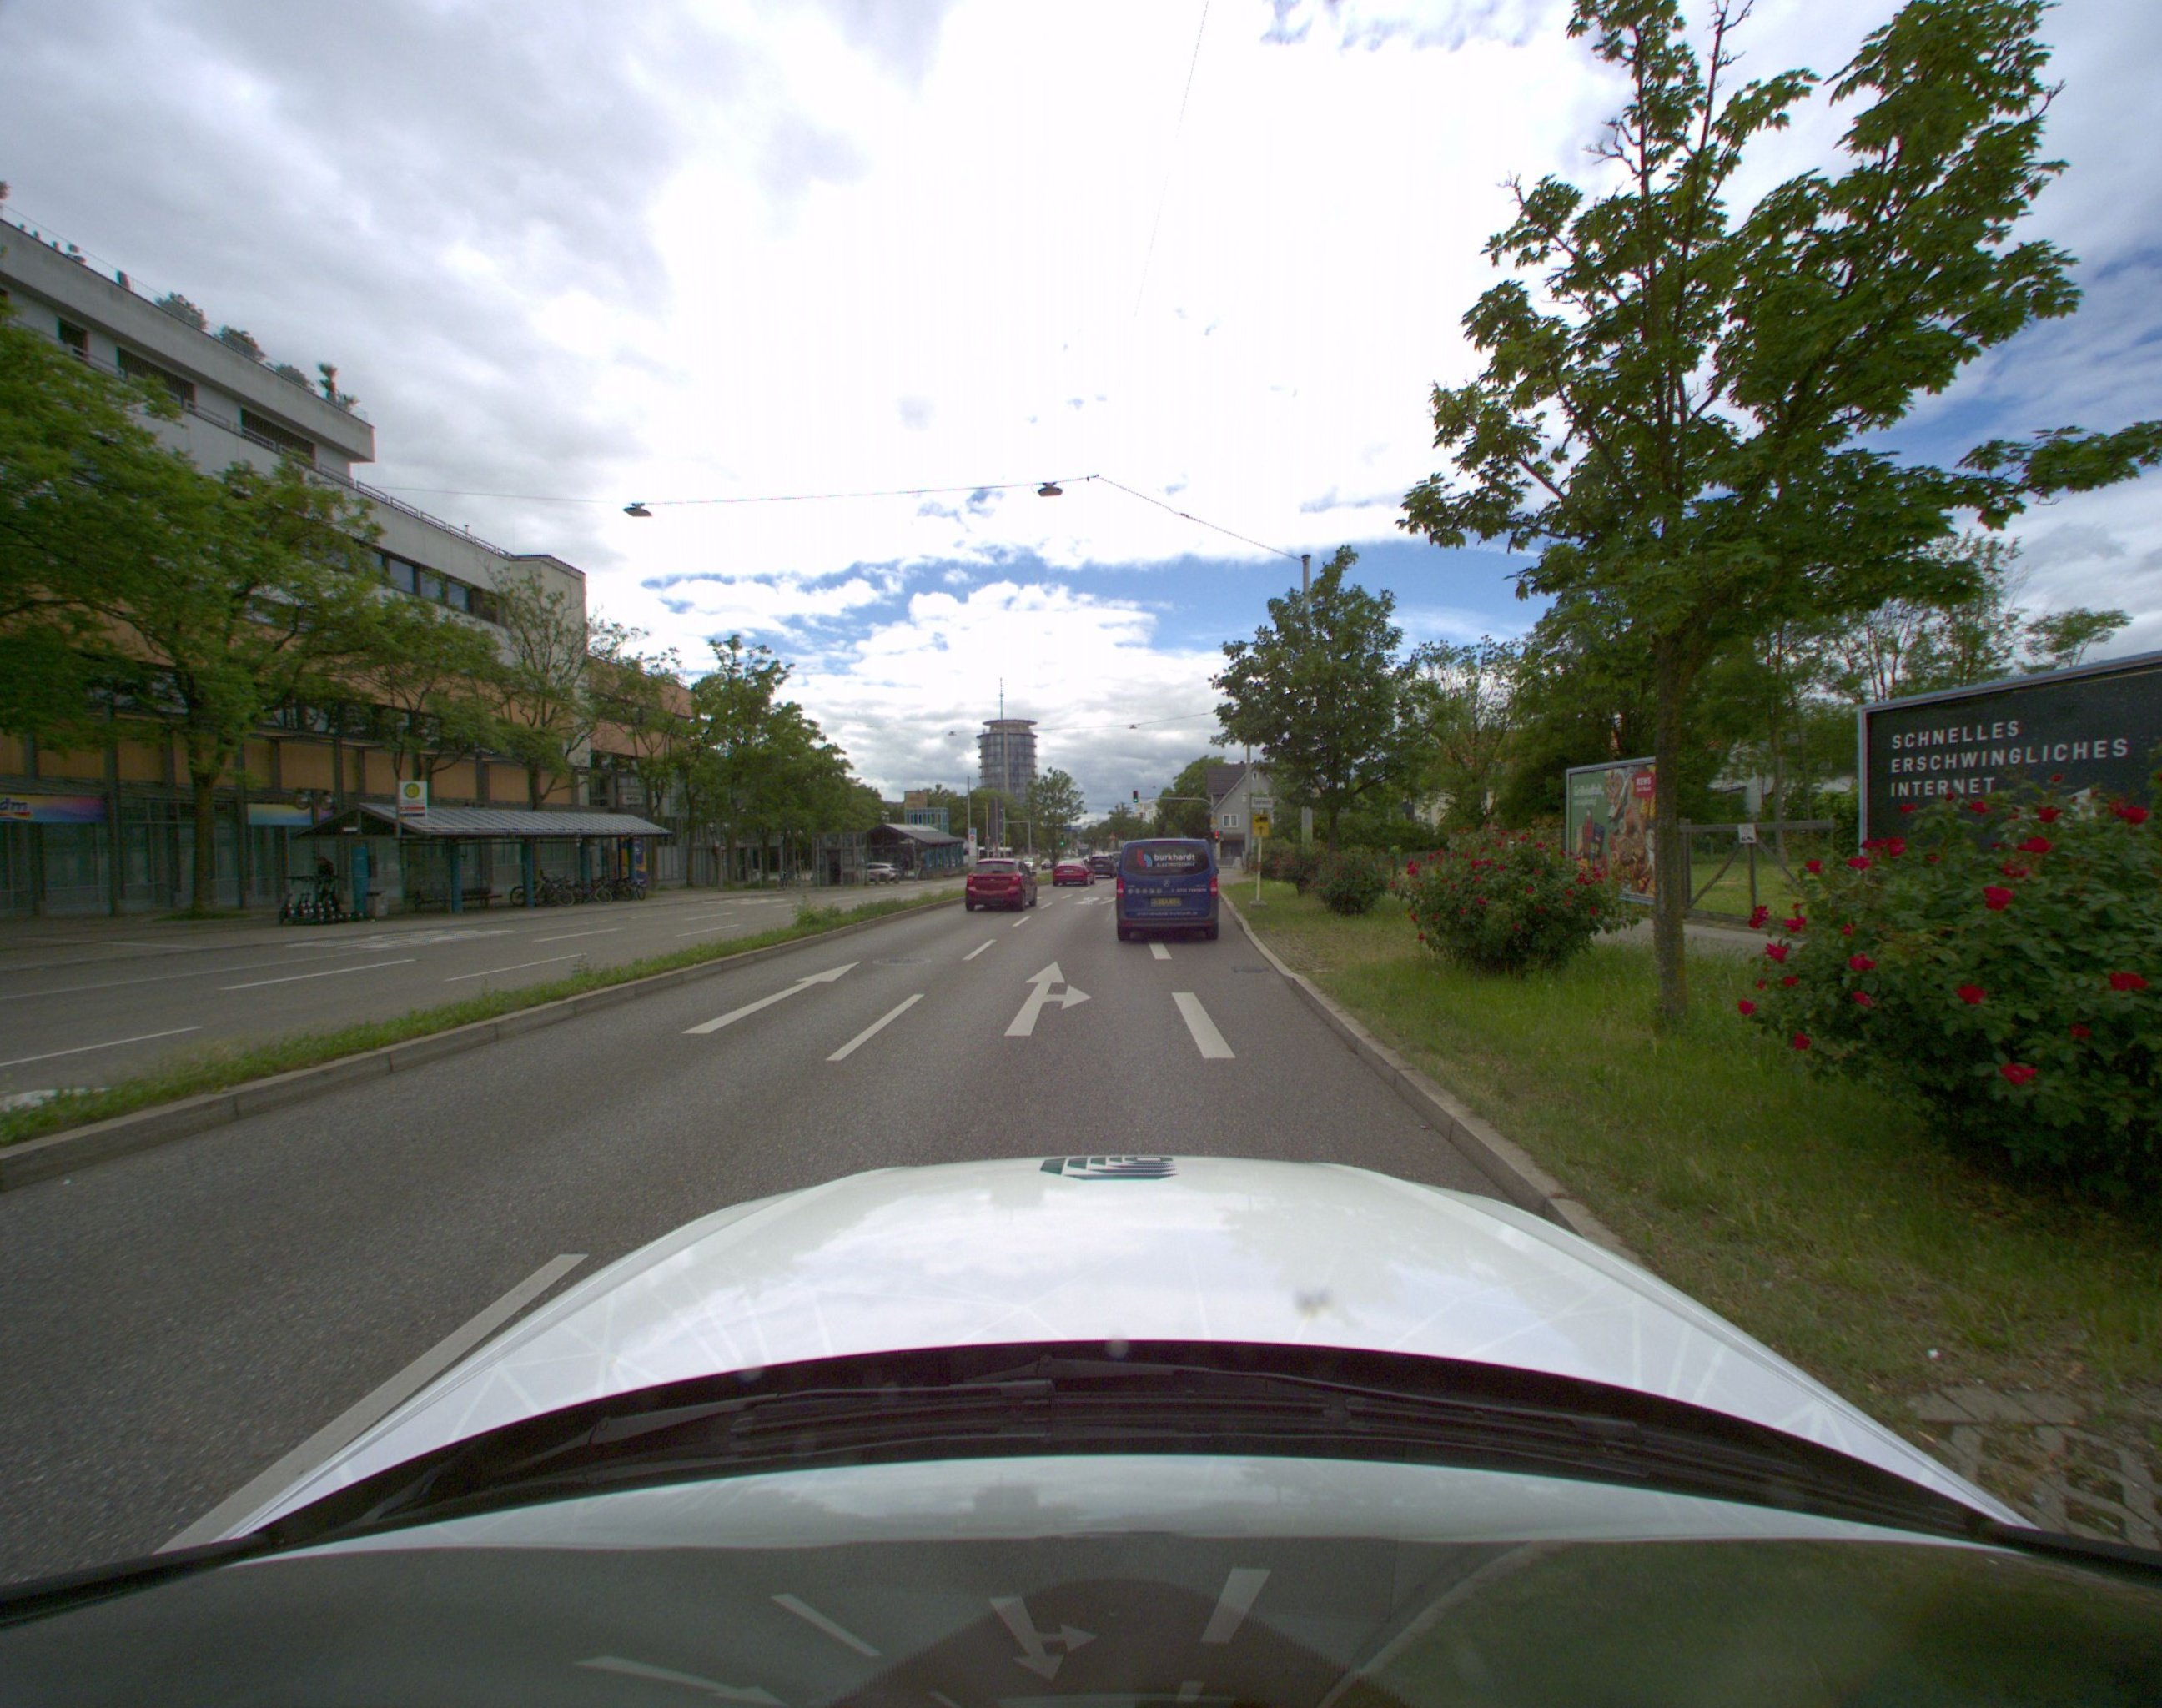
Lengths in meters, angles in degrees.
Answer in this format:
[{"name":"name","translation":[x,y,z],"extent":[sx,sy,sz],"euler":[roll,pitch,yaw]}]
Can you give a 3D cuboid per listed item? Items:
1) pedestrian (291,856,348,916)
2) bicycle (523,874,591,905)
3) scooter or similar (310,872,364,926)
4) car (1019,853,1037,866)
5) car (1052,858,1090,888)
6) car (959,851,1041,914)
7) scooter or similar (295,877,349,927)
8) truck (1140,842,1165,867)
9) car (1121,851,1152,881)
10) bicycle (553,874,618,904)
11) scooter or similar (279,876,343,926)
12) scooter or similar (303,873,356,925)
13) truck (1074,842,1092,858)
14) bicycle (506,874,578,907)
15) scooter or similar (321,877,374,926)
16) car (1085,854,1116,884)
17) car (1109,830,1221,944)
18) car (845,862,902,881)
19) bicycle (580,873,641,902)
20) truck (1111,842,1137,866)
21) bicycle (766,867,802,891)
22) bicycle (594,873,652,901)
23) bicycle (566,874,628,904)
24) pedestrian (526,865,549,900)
[{"name":"pedestrian","translation":[-23.081,0.946,24.697],"extent":[0.730,1.781,0.998],"euler":[-1,0,3]},{"name":"bicycle","translation":[-20.125,1.357,31.329],"extent":[2.064,1.153,0.709],"euler":[1,-1,-9]},{"name":"scooter or similar","translation":[-20.300,1.222,22.222],"extent":[1.198,1.423,0.259],"euler":[-1,0,-1]},{"name":"car","translation":[-6.893,0.686,106.311],"extent":[1.614,1.574,4.009],"euler":[-2,0,8]},{"name":"car","translation":[-0.558,0.991,43.322],"extent":[1.863,1.486,3.997],"euler":[-1,0,-2]},{"name":"car","translation":[-2.347,0.798,24.628],"extent":[1.738,1.723,4.005],"euler":[-1,0,5]},{"name":"scooter or similar","translation":[-20.204,1.266,21.679],"extent":[1.124,1.295,0.268],"euler":[-1,0,-2]},{"name":"truck","translation":[6.673,0.054,75.624],"extent":[1.982,2.165,5.571],"euler":[1,0,8]},{"name":"car","translation":[3.328,0.690,48.560],"extent":[1.738,1.723,4.005],"euler":[-1,0,4]},{"name":"bicycle","translation":[-19.648,1.377,32.328],"extent":[2.064,1.153,0.709],"euler":[0,-1,-9]},{"name":"scooter or similar","translation":[-20.153,1.224,21.320],"extent":[1.317,1.269,0.339],"euler":[0,-1,-1]},{"name":"scooter or similar","translation":[-20.247,1.209,21.953],"extent":[1.198,1.385,0.222],"euler":[-1,0,-1]},{"name":"truck","translation":[0.499,-0.821,192.215],"extent":[3.352,3.727,11.294],"euler":[0,0,5]},{"name":"bicycle","translation":[-19.954,1.341,30.185],"extent":[2.064,1.153,0.709],"euler":[2,-1,-9]},{"name":"scooter or similar","translation":[-20.294,1.304,22.520],"extent":[1.198,1.320,0.259],"euler":[-1,0,-1]},{"name":"car","translation":[1.356,1.008,56.935],"extent":[1.988,2.013,3.998],"euler":[0,1,-1]},{"name":"car","translation":[1.750,0.584,16.404],"extent":[1.937,1.965,4.551],"euler":[0,0,7]},{"name":"car","translation":[-16.399,1.386,64.522],"extent":[3.974,1.354,2.000],"euler":[-1,0,-1]},{"name":"bicycle","translation":[-20.000,1.433,34.669],"extent":[2.064,1.153,0.709],"euler":[2,-1,-9]},{"name":"truck","translation":[4.045,0.015,76.152],"extent":[1.982,2.165,5.571],"euler":[1,0,8]},{"name":"bicycle","translation":[-17.005,1.398,46.650],"extent":[1.047,1.271,2.427],"euler":[1,0,3]},{"name":"bicycle","translation":[-20.088,1.448,35.764],"extent":[2.064,1.153,0.709],"euler":[0,-1,-9]},{"name":"bicycle","translation":[-20.003,1.439,33.719],"extent":[2.064,1.153,0.709],"euler":[-1,0,-9]},{"name":"pedestrian","translation":[-25.427,1.328,38.110],"extent":[0.529,1.643,0.677],"euler":[-2,0,8]}]
